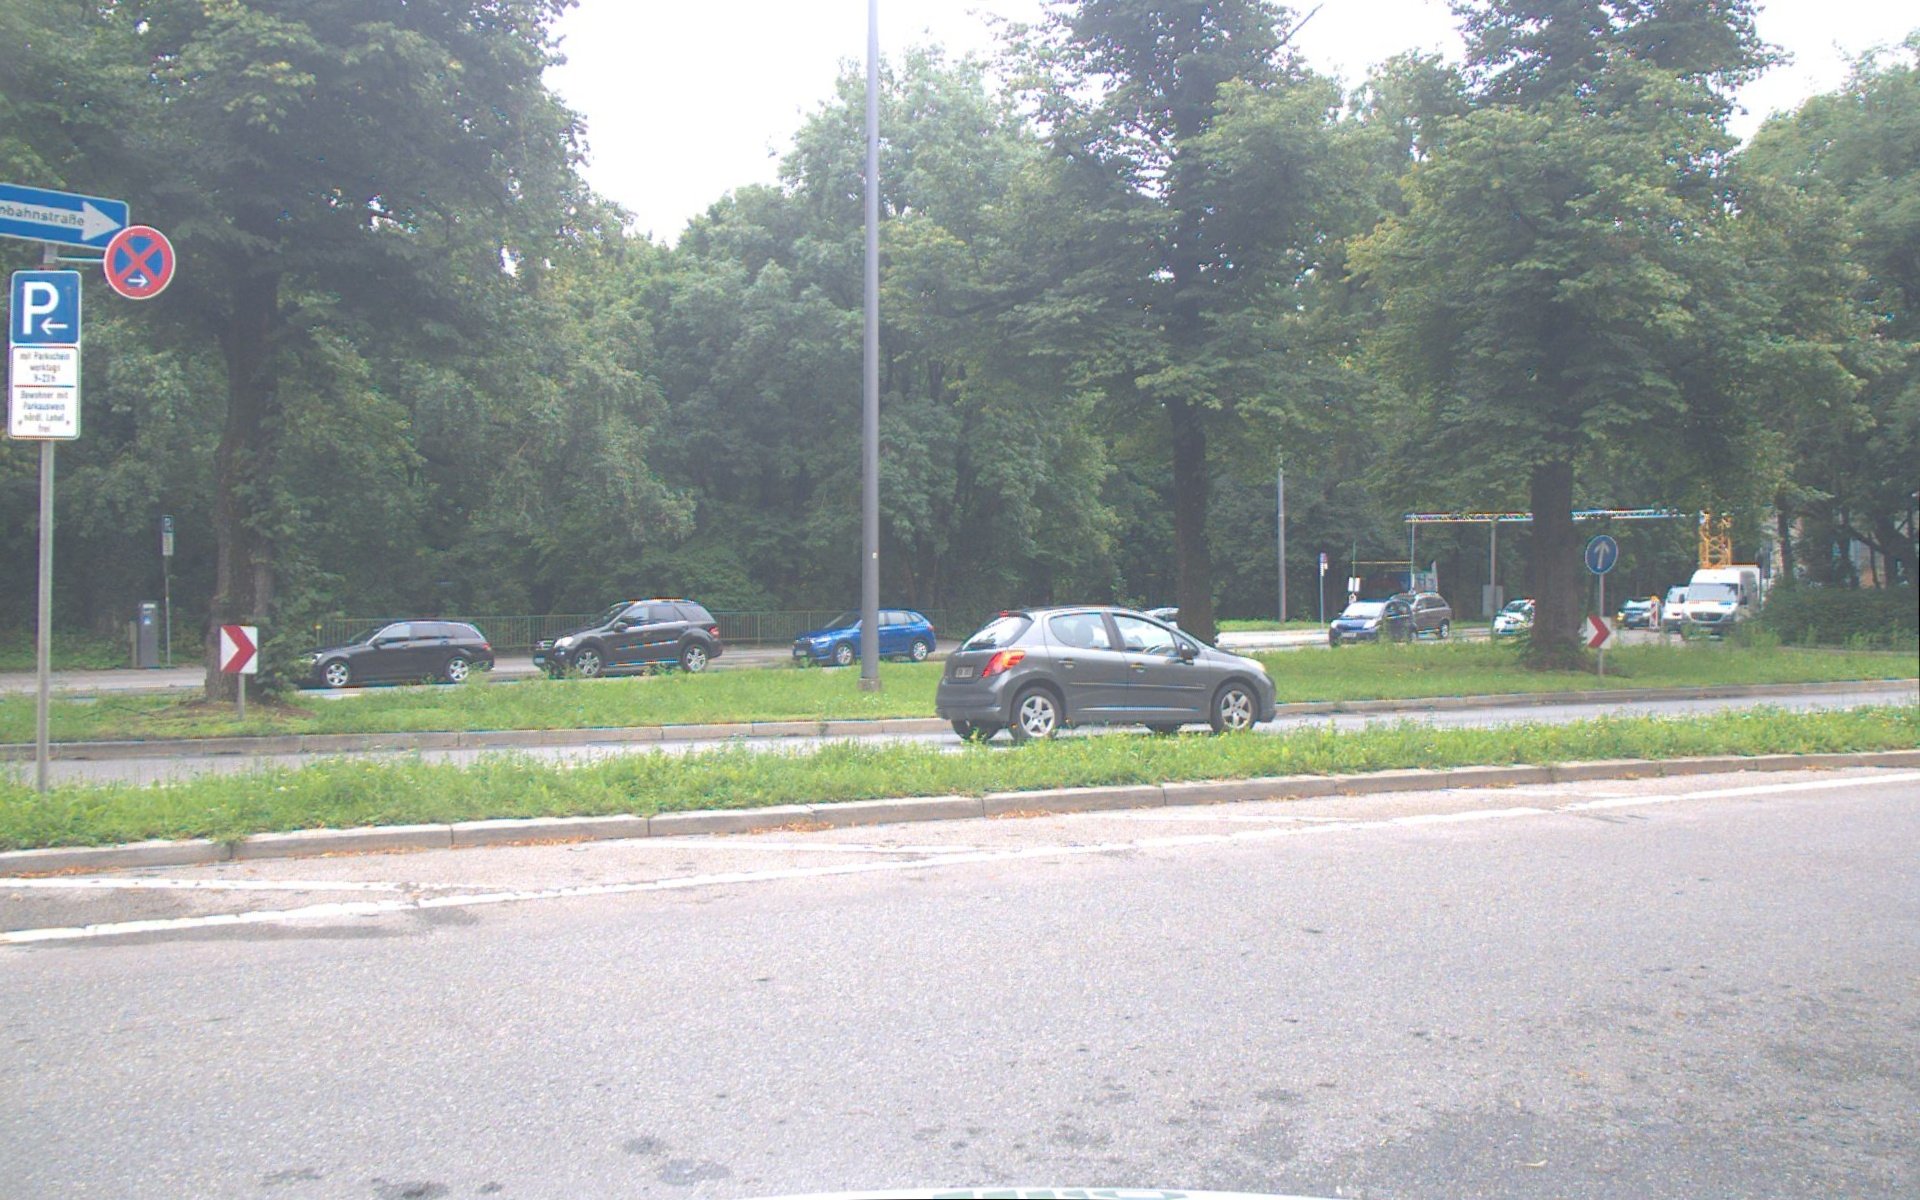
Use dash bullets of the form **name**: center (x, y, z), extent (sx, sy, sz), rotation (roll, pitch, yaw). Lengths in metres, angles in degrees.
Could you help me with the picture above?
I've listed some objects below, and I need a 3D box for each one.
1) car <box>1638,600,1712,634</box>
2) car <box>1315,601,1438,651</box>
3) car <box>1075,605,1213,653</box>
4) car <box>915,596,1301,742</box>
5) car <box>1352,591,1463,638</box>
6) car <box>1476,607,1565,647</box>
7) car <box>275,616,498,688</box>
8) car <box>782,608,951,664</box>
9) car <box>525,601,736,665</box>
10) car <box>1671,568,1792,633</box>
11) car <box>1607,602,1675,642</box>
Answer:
- **car**: center (31.390, 0.733, 72.557), extent (1.862, 1.472, 4.276), rotation (-1, 0, 40)
- **car**: center (13.019, 0.789, 51.618), extent (3.999, 1.472, 1.868), rotation (0, 0, -42)
- **car**: center (5.906, 0.913, 52.752), extent (4.386, 1.472, 1.969), rotation (0, -1, -42)
- **car**: center (1.669, 0.707, 18.518), extent (4.010, 1.486, 1.750), rotation (0, 0, -26)
- **car**: center (17.369, 0.567, 64.086), extent (4.609, 1.748, 1.969), rotation (0, -1, -42)
- **car**: center (21.447, 1.032, 63.192), extent (1.800, 1.472, 4.212), rotation (-2, -1, 41)
- **car**: center (-12.655, 1.113, 36.631), extent (4.279, 1.472, 1.970), rotation (0, -1, -41)
- **car**: center (-2.523, 0.967, 45.380), extent (4.386, 1.472, 1.969), rotation (0, -1, -42)
- **car**: center (-7.984, 0.774, 40.351), extent (4.726, 1.472, 1.970), rotation (0, -1, -41)
- **car**: center (28.533, 0.027, 61.092), extent (5.085, 2.309, 2.273), rotation (0, -1, -42)
- **car**: center (33.520, 1.059, 81.346), extent (3.970, 1.907, 1.669), rotation (0, -1, -44)
